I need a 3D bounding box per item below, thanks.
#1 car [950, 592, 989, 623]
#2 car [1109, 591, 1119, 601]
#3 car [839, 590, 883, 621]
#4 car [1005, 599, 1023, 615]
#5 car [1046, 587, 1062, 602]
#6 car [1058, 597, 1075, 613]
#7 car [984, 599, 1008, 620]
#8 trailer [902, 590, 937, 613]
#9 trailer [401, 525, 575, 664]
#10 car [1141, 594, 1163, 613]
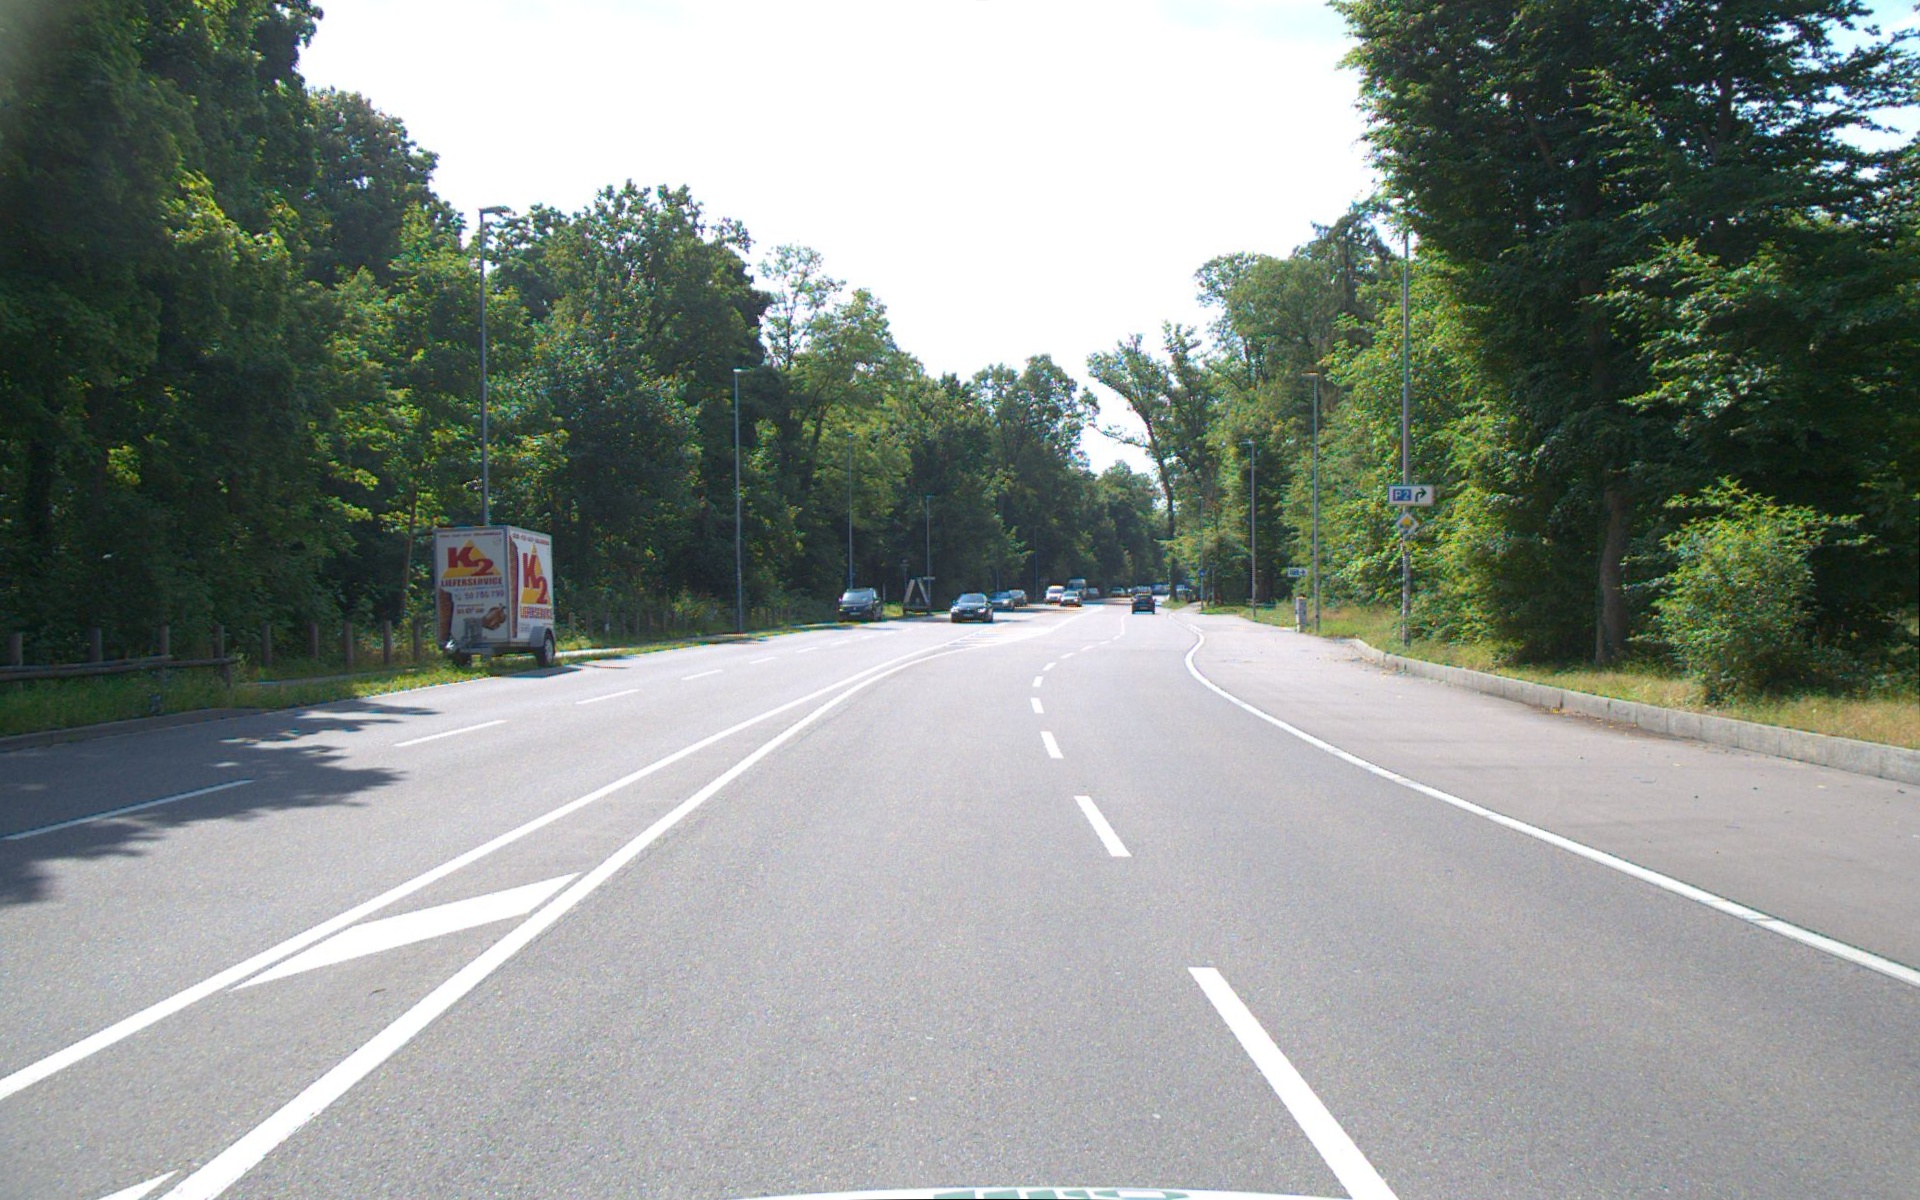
[{"bbox_3d":[0.481,0.365,80.422,1.471,1.472,3.532,0,0,8],"label":"car"},{"bbox_3d":[22.923,-0.646,246.022,1.276,1.438,3.086,0,0,8],"label":"car"},{"bbox_3d":[-4.746,0.247,79.645,1.471,1.472,3.532,0,0,7],"label":"car"},{"bbox_3d":[5.083,0.654,155.488,1.471,1.472,3.531,0,0,5],"label":"car"},{"bbox_3d":[9.387,-0.556,164.687,1.471,1.472,3.532,0,0,6],"label":"car"},{"bbox_3d":[9.810,0.444,152.136,1.471,1.472,3.532,0,0,6],"label":"car"},{"bbox_3d":[2.681,0.703,123.025,1.471,1.472,3.532,0,0,6],"label":"car"},{"bbox_3d":[-2.480,0.071,102.237,1.680,1.378,3.735,0,0,7],"label":"trailer"},{"bbox_3d":[-8.732,-0.094,30.979,1.952,2.430,4.001,0,0,3],"label":"trailer"},{"bbox_3d":[14.038,0.238,120.890,1.563,1.402,3.979,0,0,7],"label":"car"}]
